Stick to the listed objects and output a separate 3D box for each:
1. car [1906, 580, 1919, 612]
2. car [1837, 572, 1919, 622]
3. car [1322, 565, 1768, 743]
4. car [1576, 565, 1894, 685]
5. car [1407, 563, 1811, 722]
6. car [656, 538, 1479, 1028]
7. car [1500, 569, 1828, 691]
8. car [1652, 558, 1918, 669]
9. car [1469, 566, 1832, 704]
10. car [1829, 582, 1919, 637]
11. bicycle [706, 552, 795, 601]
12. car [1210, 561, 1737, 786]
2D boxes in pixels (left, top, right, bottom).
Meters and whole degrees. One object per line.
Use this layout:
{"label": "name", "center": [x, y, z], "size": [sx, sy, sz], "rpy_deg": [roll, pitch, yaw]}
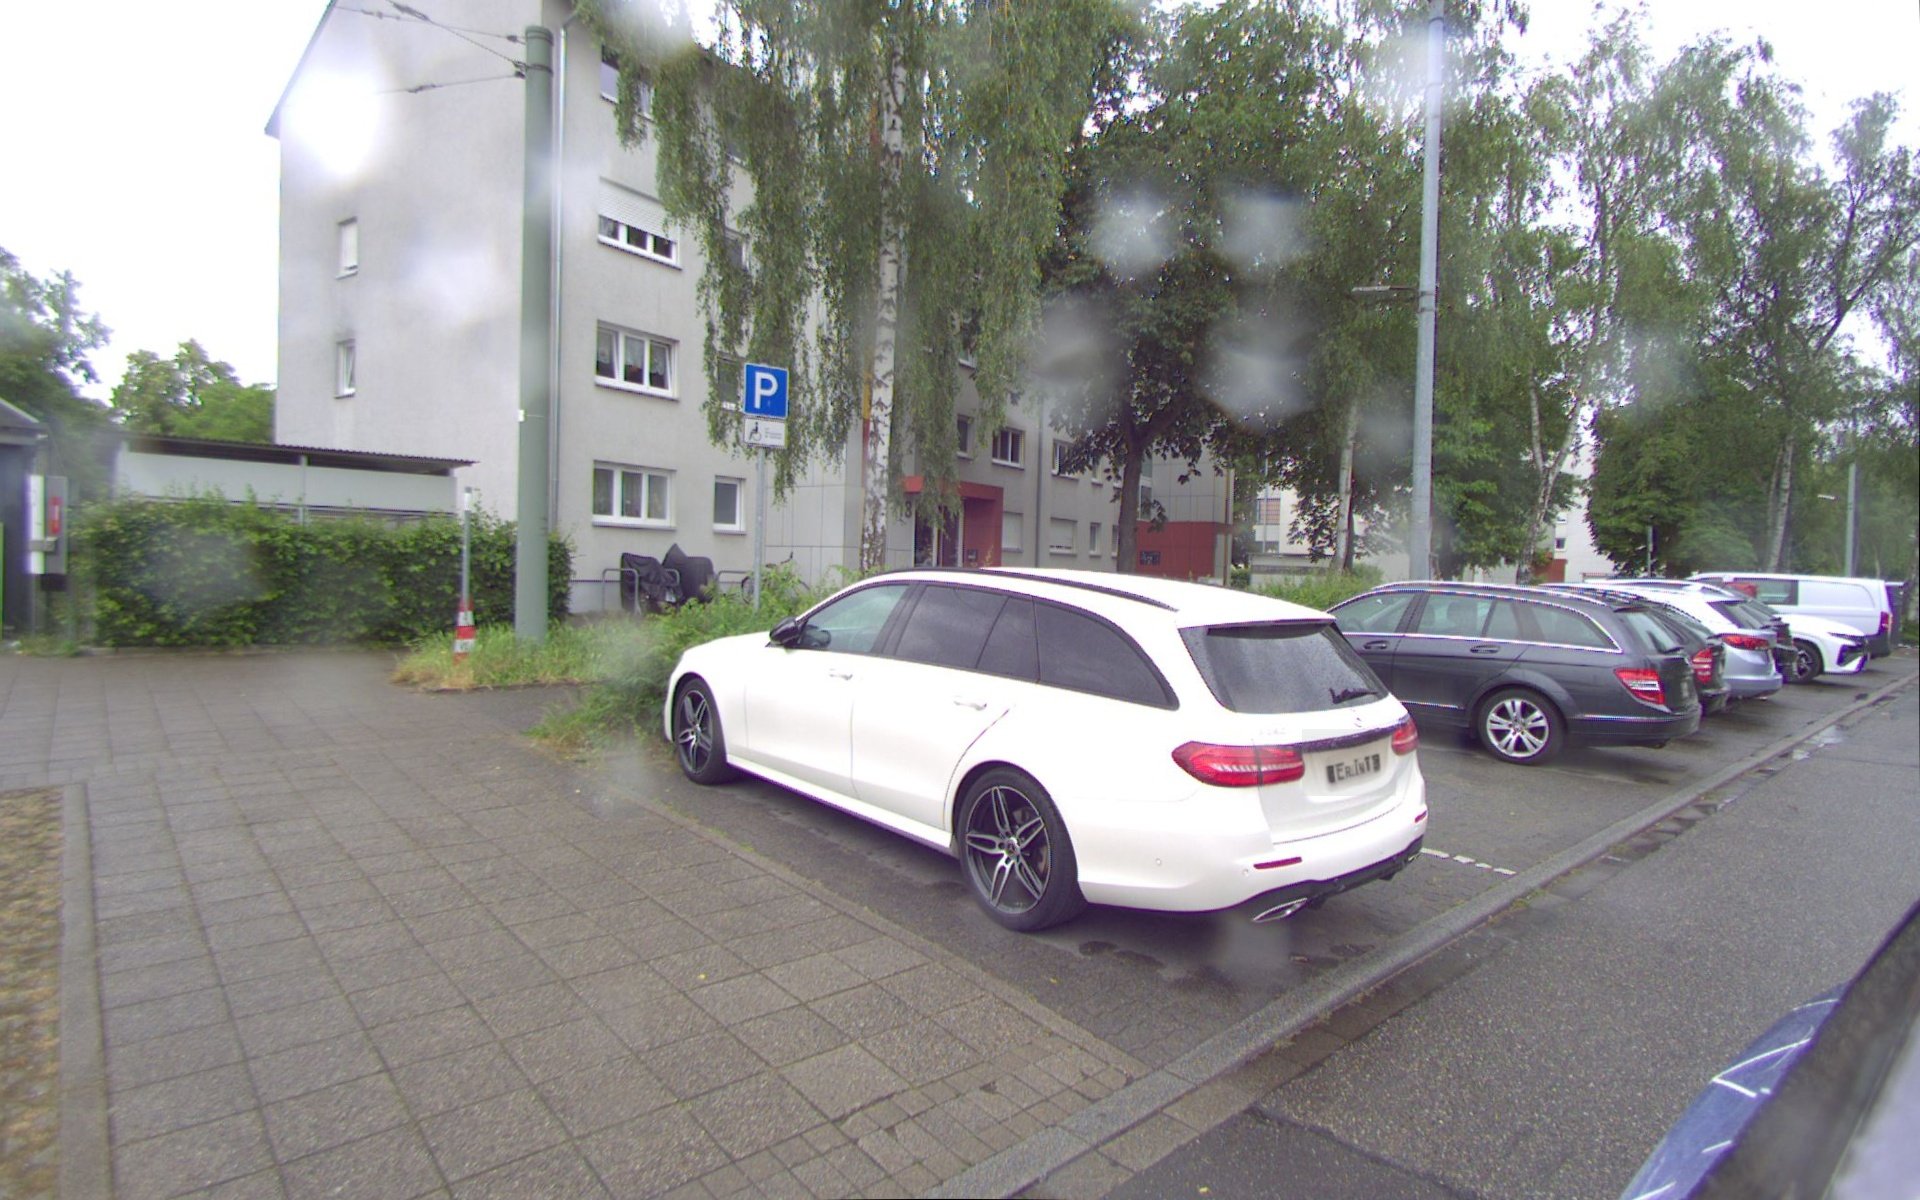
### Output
{"label": "car", "center": [53.222, -0.227, 53.807], "size": [1.866, 1.701, 3.998], "rpy_deg": [0, 0, -36]}
{"label": "car", "center": [37.813, -0.136, 40.375], "size": [1.866, 1.938, 3.998], "rpy_deg": [0, 0, -36]}
{"label": "car", "center": [6.460, 0.452, 11.525], "size": [1.653, 1.456, 4.044], "rpy_deg": [-1, 5, -43]}
{"label": "car", "center": [13.719, 0.335, 18.139], "size": [1.651, 1.637, 4.182], "rpy_deg": [0, 6, -40]}
{"label": "car", "center": [8.165, 0.400, 13.025], "size": [1.653, 1.514, 4.044], "rpy_deg": [-1, 5, -43]}
{"label": "car", "center": [0.087, 0.491, 5.595], "size": [1.651, 1.456, 4.623], "rpy_deg": [0, 5, -40]}
{"label": "car", "center": [11.256, 0.374, 16.394], "size": [1.653, 1.514, 4.044], "rpy_deg": [-1, 5, -43]}
{"label": "car", "center": [17.537, 0.187, 21.671], "size": [4.172, 1.888, 1.654], "rpy_deg": [7, 6, 43]}
{"label": "car", "center": [9.864, 0.375, 14.706], "size": [1.653, 1.514, 4.044], "rpy_deg": [-1, 5, -43]}
{"label": "car", "center": [34.492, 0.325, 36.852], "size": [1.866, 1.938, 3.998], "rpy_deg": [0, 0, -36]}
{"label": "bicycle", "center": [-4.519, -0.503, 21.968], "size": [0.701, 1.005, 1.918], "rpy_deg": [0, 0, 37]}
{"label": "car", "center": [4.584, 0.481, 9.506], "size": [1.653, 1.456, 4.044], "rpy_deg": [-1, 5, -43]}
